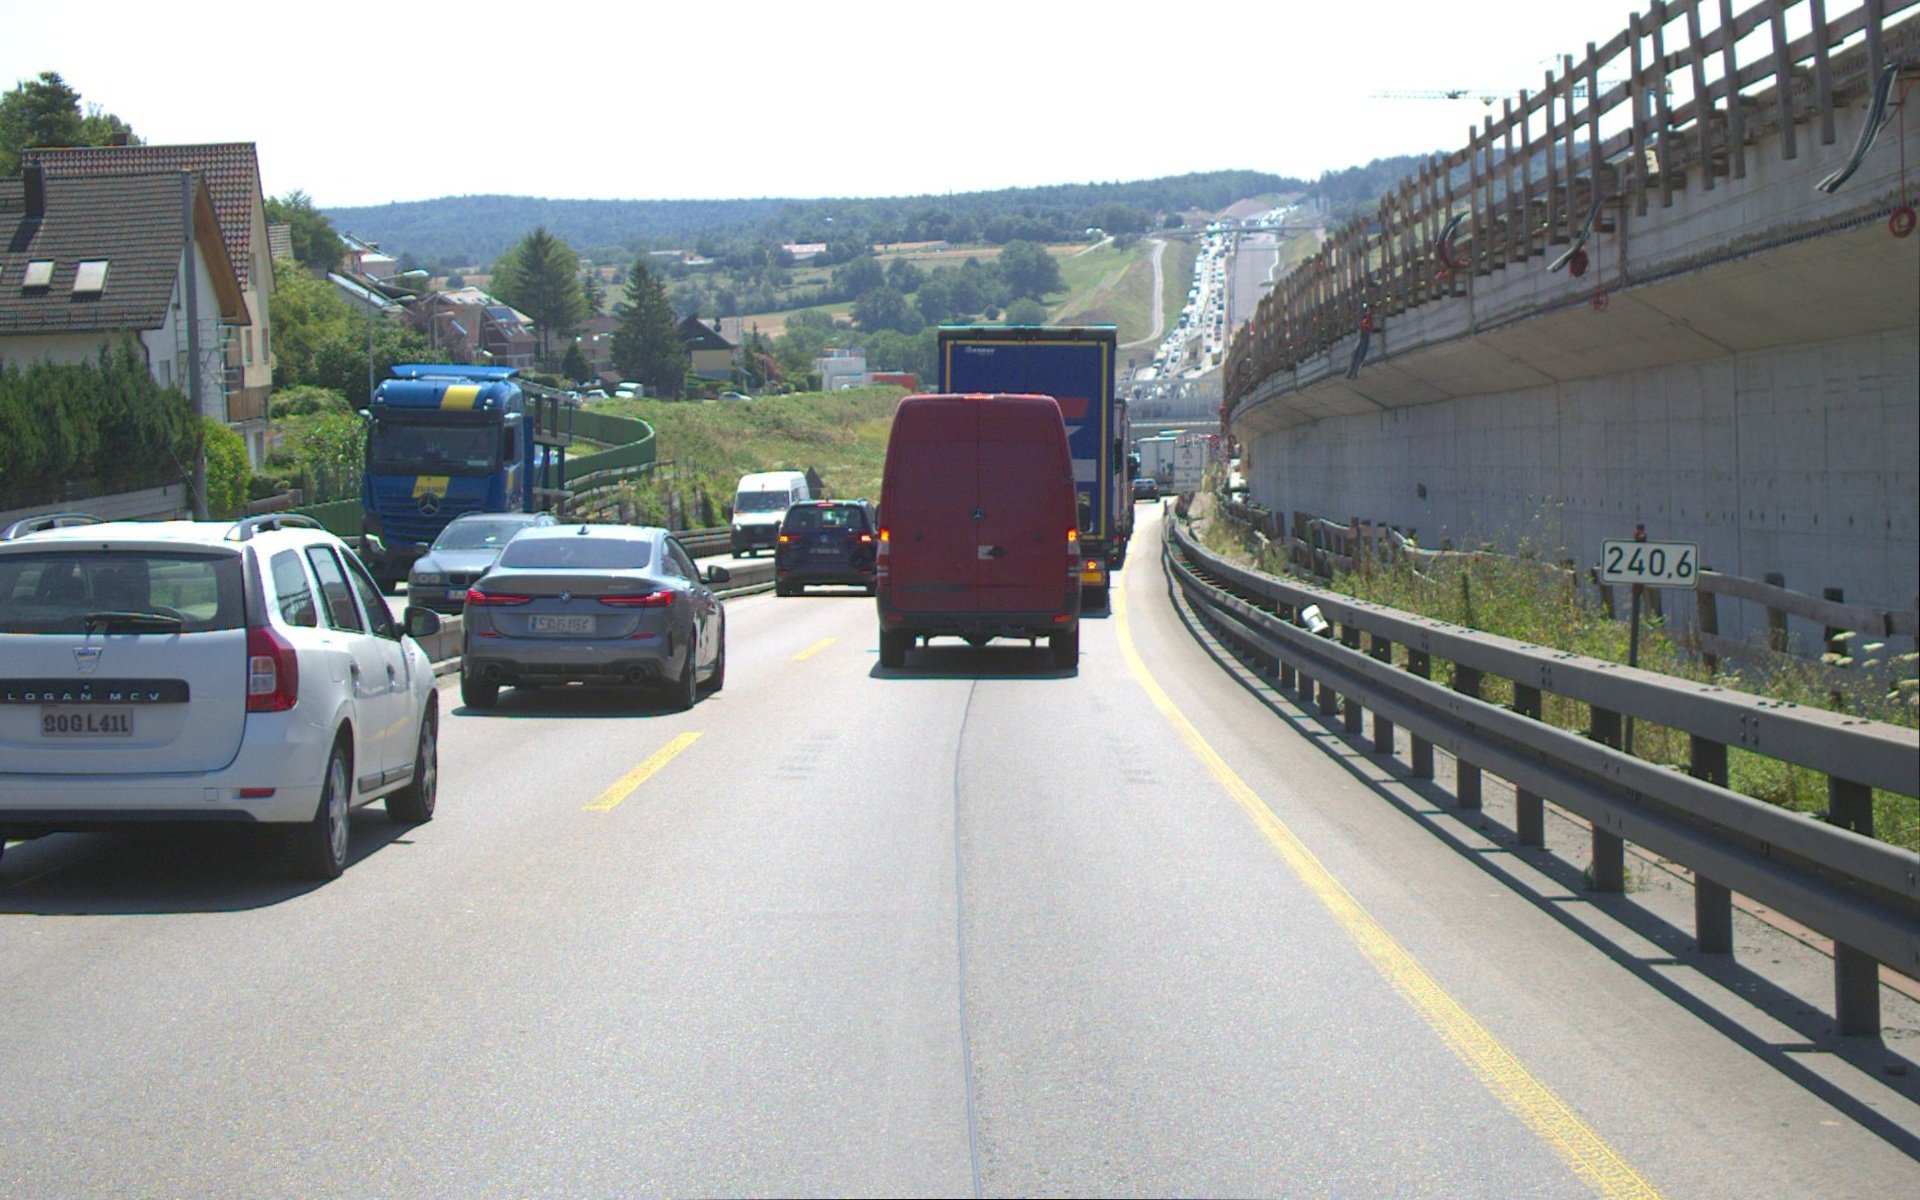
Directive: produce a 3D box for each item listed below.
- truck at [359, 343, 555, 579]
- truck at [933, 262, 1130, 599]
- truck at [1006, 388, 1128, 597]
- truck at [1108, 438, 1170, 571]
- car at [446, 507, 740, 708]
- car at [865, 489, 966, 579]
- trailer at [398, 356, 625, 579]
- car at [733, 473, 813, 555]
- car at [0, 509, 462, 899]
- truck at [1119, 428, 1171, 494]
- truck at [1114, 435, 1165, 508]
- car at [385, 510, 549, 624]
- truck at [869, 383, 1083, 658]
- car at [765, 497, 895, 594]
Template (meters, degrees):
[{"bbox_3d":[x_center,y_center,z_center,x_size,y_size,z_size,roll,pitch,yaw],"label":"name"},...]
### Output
[{"bbox_3d":[-8.786,-2.358,60.582,2.508,3.951,5.175,0,0,2],"label":"truck"},{"bbox_3d":[1.122,-2.434,54.051,2.786,4.799,9.684,0,0,1],"label":"truck"},{"bbox_3d":[2.570,-2.485,84.010,2.786,4.799,9.684,0,0,1],"label":"truck"},{"bbox_3d":[6.084,-3.200,116.326,1.994,4.366,3.999,0,0,4],"label":"truck"},{"bbox_3d":[-2.872,0.042,27.707,1.795,1.480,4.049,1,0,2],"label":"car"},{"bbox_3d":[-0.903,-1.389,72.709,1.729,1.832,3.999,0,1,5],"label":"car"},{"bbox_3d":[-8.566,-2.399,67.140,2.508,3.951,11.398,0,0,2],"label":"trailer"},{"bbox_3d":[-5.984,-2.724,110.701,1.994,2.498,5.515,0,0,3],"label":"car"},{"bbox_3d":[-3.415,0.400,15.643,1.651,1.478,4.267,-3,1,-1],"label":"car"},{"bbox_3d":[13.253,-9.929,245.901,3.468,4.366,8.556,0,0,4],"label":"truck"},{"bbox_3d":[11.698,-8.289,223.174,3.069,4.366,8.556,0,0,4],"label":"truck"},{"bbox_3d":[-6.574,-0.482,46.250,1.544,1.459,4.629,0,1,0],"label":"car"},{"bbox_3d":[0.156,-0.745,34.268,1.993,2.570,4.000,0,0,0],"label":"truck"},{"bbox_3d":[-2.196,-0.908,58.906,1.810,1.602,3.718,0,0,4],"label":"car"}]
